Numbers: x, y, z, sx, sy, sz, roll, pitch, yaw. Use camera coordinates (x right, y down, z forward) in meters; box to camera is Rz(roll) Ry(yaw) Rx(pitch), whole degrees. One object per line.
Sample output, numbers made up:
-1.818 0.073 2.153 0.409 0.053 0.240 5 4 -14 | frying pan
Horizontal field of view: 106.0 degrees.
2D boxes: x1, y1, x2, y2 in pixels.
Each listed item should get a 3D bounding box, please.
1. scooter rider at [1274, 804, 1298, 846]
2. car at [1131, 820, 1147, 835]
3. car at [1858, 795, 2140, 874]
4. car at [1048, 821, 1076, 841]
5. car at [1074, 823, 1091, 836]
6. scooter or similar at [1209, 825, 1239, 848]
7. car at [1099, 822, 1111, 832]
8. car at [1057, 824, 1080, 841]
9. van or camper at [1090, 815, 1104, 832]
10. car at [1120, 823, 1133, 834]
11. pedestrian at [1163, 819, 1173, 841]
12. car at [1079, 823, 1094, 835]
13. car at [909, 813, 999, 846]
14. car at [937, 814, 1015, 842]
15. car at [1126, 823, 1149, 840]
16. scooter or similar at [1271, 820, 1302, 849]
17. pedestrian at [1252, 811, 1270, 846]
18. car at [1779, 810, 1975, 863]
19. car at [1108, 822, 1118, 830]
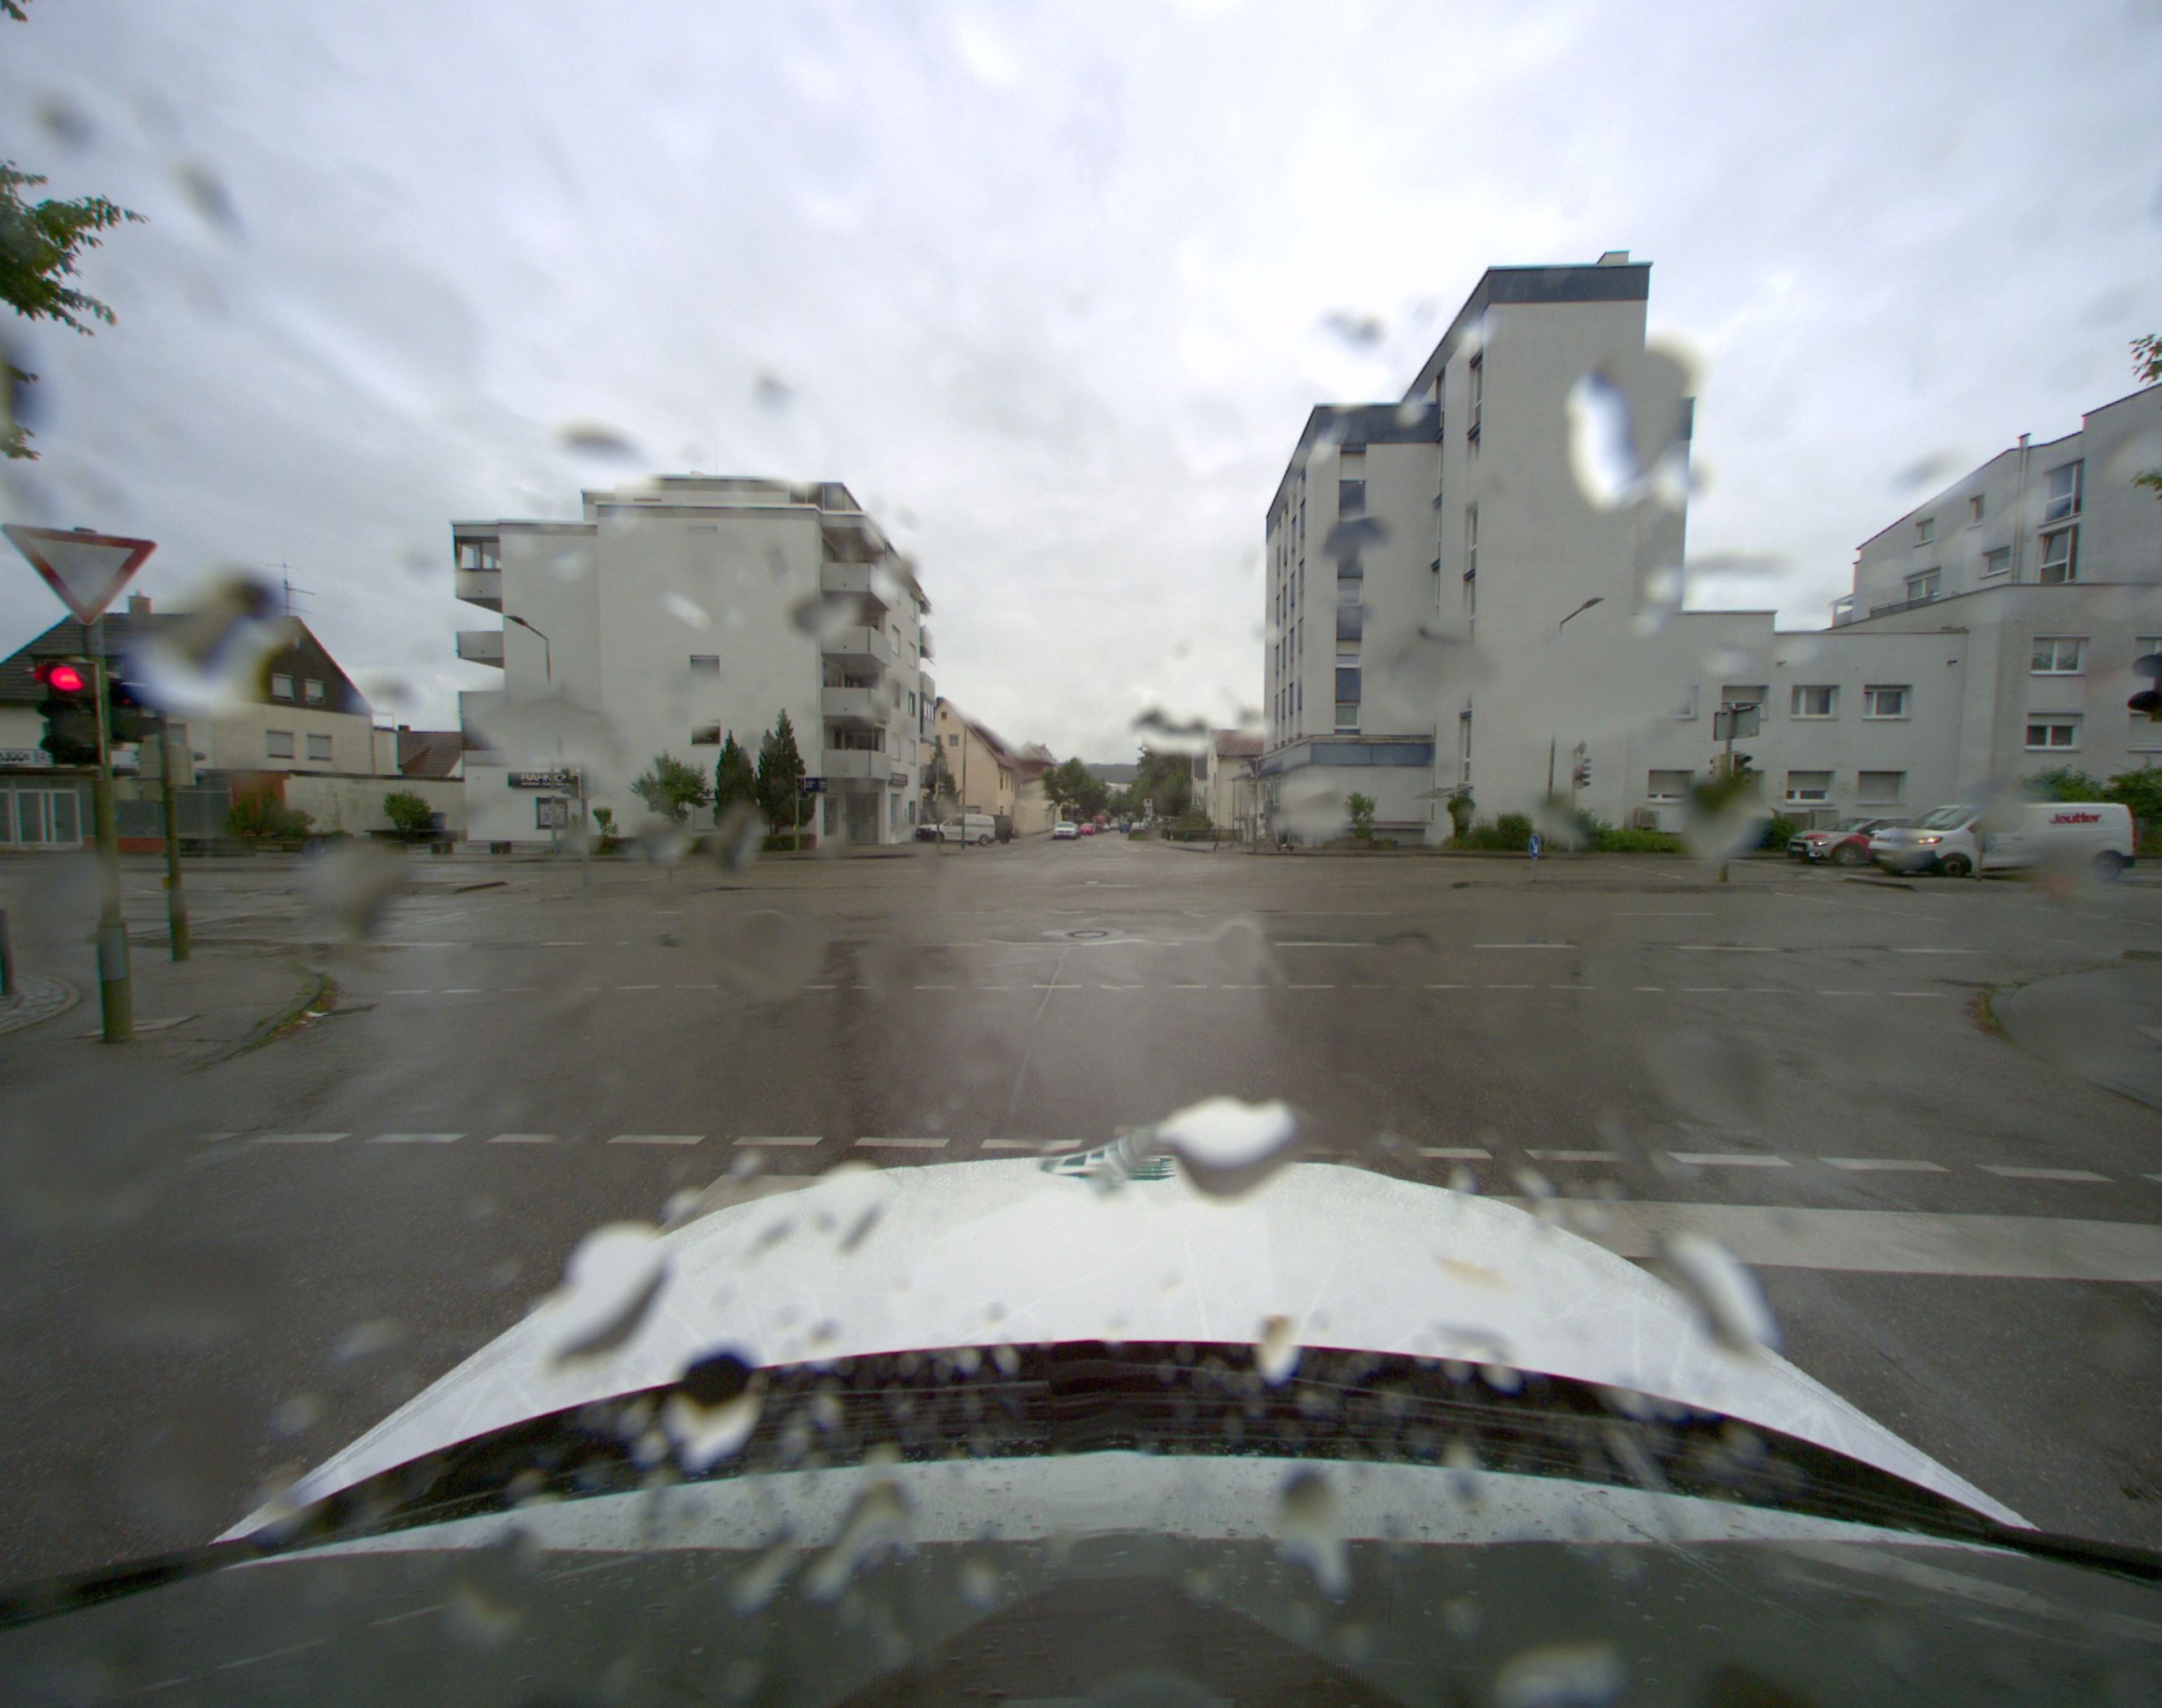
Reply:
8.796 -1.246 34.963 0.753 1.795 0.670 -1 1 -13 | scooter rider
7.338 -3.359 103.286 1.894 1.745 4.195 -1 2 3 | car
23.445 -0.487 20.985 4.787 1.916 1.831 0 0 8 | car
-1.542 -1.927 68.180 1.985 1.625 4.195 -1 2 3 | car
0.194 -3.110 104.619 1.894 1.558 4.195 -1 2 3 | car
6.767 -0.837 38.599 1.265 1.081 0.876 -1 1 -3 | scooter or similar
4.053 -4.631 138.774 1.894 1.558 4.195 -1 2 3 | car
-1.163 -2.103 79.584 1.985 1.625 4.195 -1 2 3 | car
2.499 -4.770 127.104 1.894 2.513 4.242 -1 2 3 | van or camper
7.269 -4.140 130.826 1.986 1.683 4.003 -1 2 2 | car
7.657 -2.127 71.460 0.744 1.848 0.525 3 1 -4 | pedestrian
0.739 -3.488 113.018 1.894 1.558 4.195 -1 2 3 | car
-7.421 -1.451 47.934 4.866 1.835 1.978 -2 2 -36 | car
-7.077 -1.773 54.933 4.866 1.835 1.978 -2 2 -36 | car
5.642 -2.282 81.601 2.137 1.589 4.131 -1 2 3 | car
8.810 -0.839 34.954 0.758 1.171 1.309 -1 1 -13 | scooter or similar
8.697 -1.217 39.438 0.646 1.647 0.525 3 1 -4 | pedestrian
23.838 -0.532 24.530 3.966 1.467 1.835 -1 2 6 | car
6.153 -5.294 154.726 1.894 1.558 4.195 -1 2 3 | car
